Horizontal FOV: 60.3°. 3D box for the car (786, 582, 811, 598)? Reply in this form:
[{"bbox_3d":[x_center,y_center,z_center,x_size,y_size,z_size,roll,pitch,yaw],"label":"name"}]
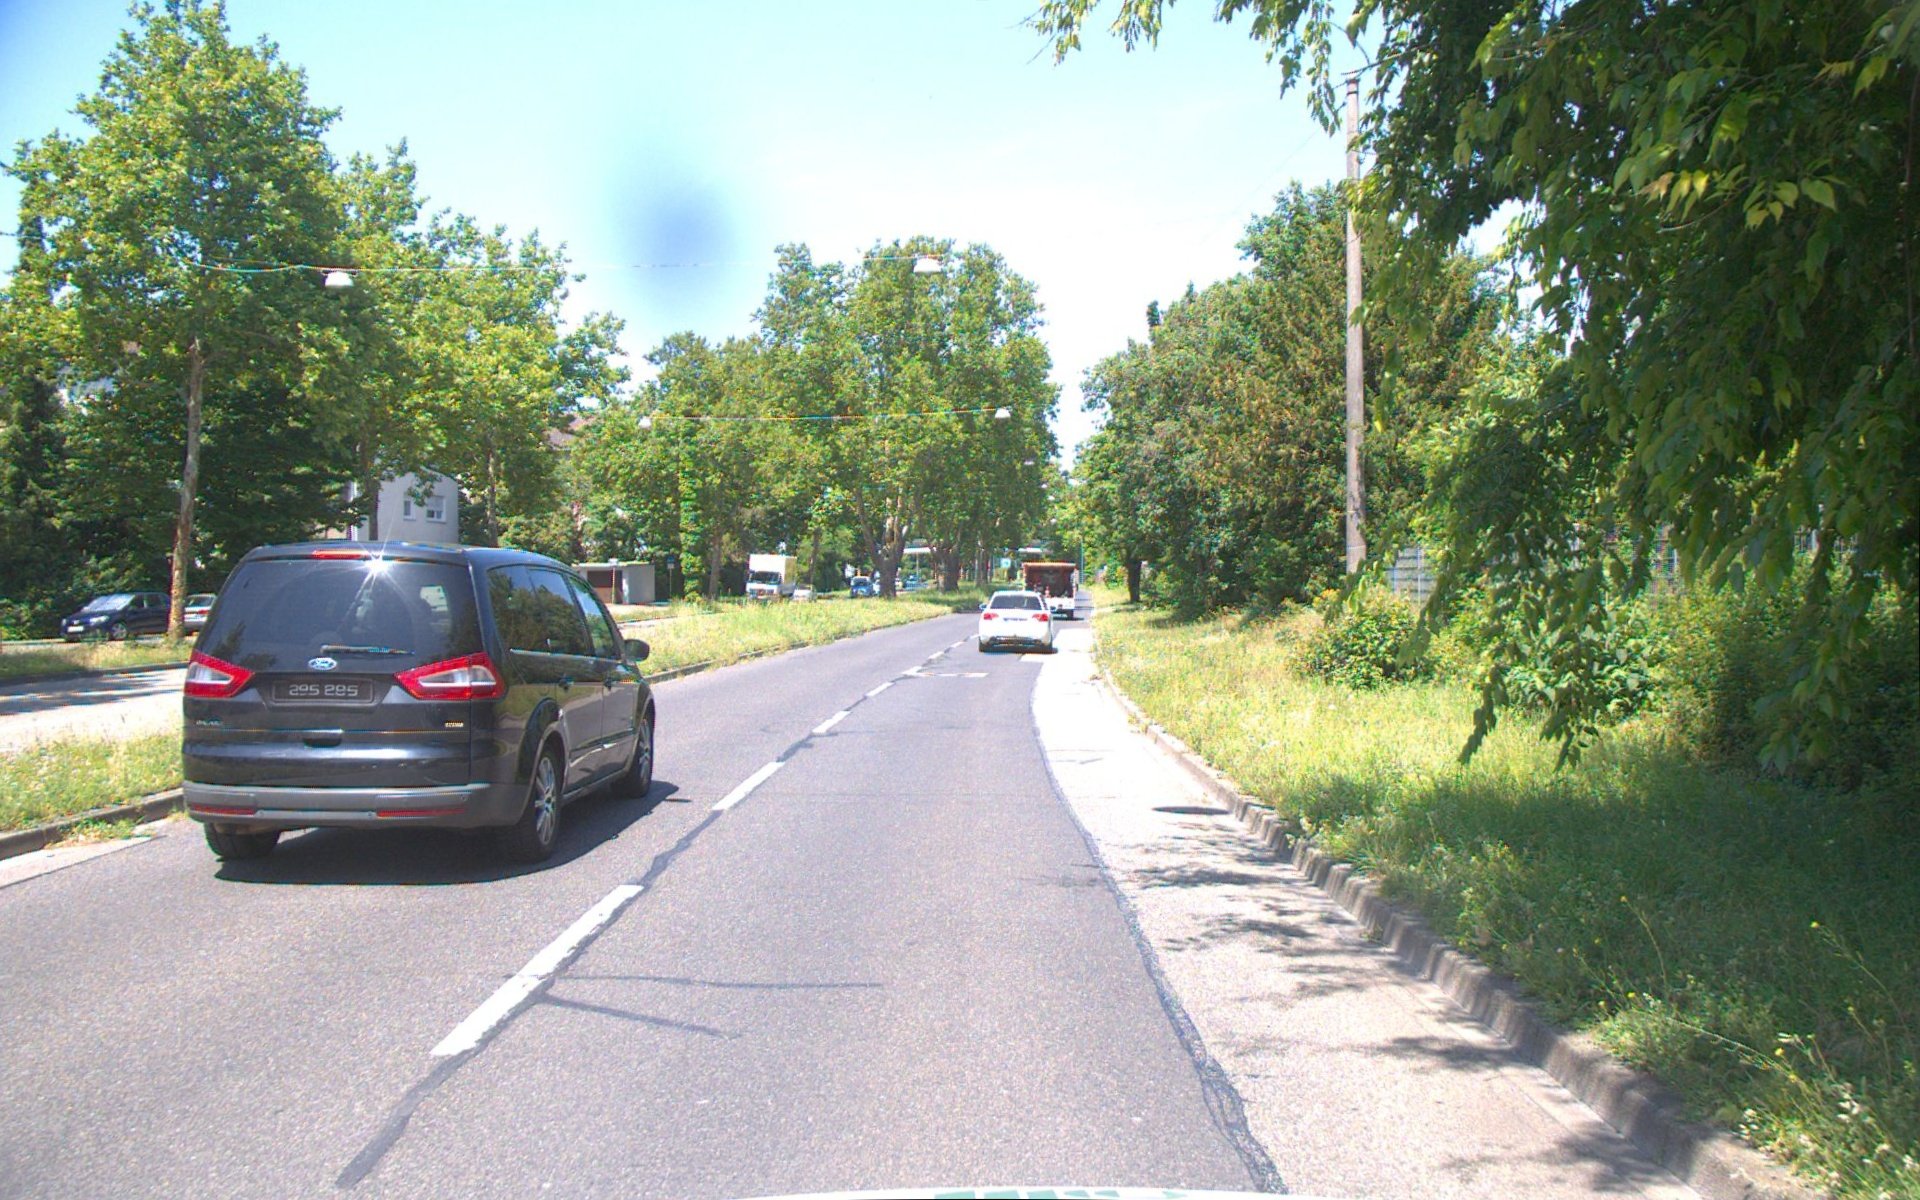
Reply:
[{"bbox_3d":[-12.877,-0.829,132.273,1.876,1.231,4.332,-1,1,-4],"label":"car"}]

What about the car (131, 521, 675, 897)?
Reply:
[{"bbox_3d":[-3.053,0.483,10.213,1.816,1.786,4.648,0,1,-1],"label":"car"}]

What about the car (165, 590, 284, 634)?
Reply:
[{"bbox_3d":[-25.368,0.396,57.202,1.841,1.400,4.004,-1,1,9],"label":"car"}]

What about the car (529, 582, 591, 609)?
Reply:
[{"bbox_3d":[-21.429,-0.259,88.751,1.789,1.415,3.951,-1,1,9],"label":"car"}]

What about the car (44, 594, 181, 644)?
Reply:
[{"bbox_3d":[-26.315,0.559,51.536,1.841,1.417,4.003,-1,1,7],"label":"car"}]

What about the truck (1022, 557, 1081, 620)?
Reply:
[{"bbox_3d":[3.999,-0.593,73.073,2.459,2.604,7.607,1,2,2],"label":"truck"}]

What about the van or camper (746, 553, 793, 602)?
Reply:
[{"bbox_3d":[-13.423,-1.599,117.014,2.606,3.389,5.500,-1,1,0],"label":"van or camper"}]

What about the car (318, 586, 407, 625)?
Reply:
[{"bbox_3d":[-24.218,0.189,67.131,1.842,1.500,4.003,-1,1,5],"label":"car"}]

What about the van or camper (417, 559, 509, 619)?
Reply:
[{"bbox_3d":[-22.948,-0.528,76.580,2.136,2.632,5.313,-1,1,6],"label":"van or camper"}]

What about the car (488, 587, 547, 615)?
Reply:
[{"bbox_3d":[-22.185,0.033,83.072,1.657,1.306,3.805,-1,1,5],"label":"car"}]

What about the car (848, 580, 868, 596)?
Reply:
[{"bbox_3d":[-9.041,-1.088,147.107,1.736,1.355,3.657,1,0,-4],"label":"car"}]

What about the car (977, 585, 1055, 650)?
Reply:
[{"bbox_3d":[1.379,0.381,39.568,1.725,1.470,3.618,0,1,4],"label":"car"}]
